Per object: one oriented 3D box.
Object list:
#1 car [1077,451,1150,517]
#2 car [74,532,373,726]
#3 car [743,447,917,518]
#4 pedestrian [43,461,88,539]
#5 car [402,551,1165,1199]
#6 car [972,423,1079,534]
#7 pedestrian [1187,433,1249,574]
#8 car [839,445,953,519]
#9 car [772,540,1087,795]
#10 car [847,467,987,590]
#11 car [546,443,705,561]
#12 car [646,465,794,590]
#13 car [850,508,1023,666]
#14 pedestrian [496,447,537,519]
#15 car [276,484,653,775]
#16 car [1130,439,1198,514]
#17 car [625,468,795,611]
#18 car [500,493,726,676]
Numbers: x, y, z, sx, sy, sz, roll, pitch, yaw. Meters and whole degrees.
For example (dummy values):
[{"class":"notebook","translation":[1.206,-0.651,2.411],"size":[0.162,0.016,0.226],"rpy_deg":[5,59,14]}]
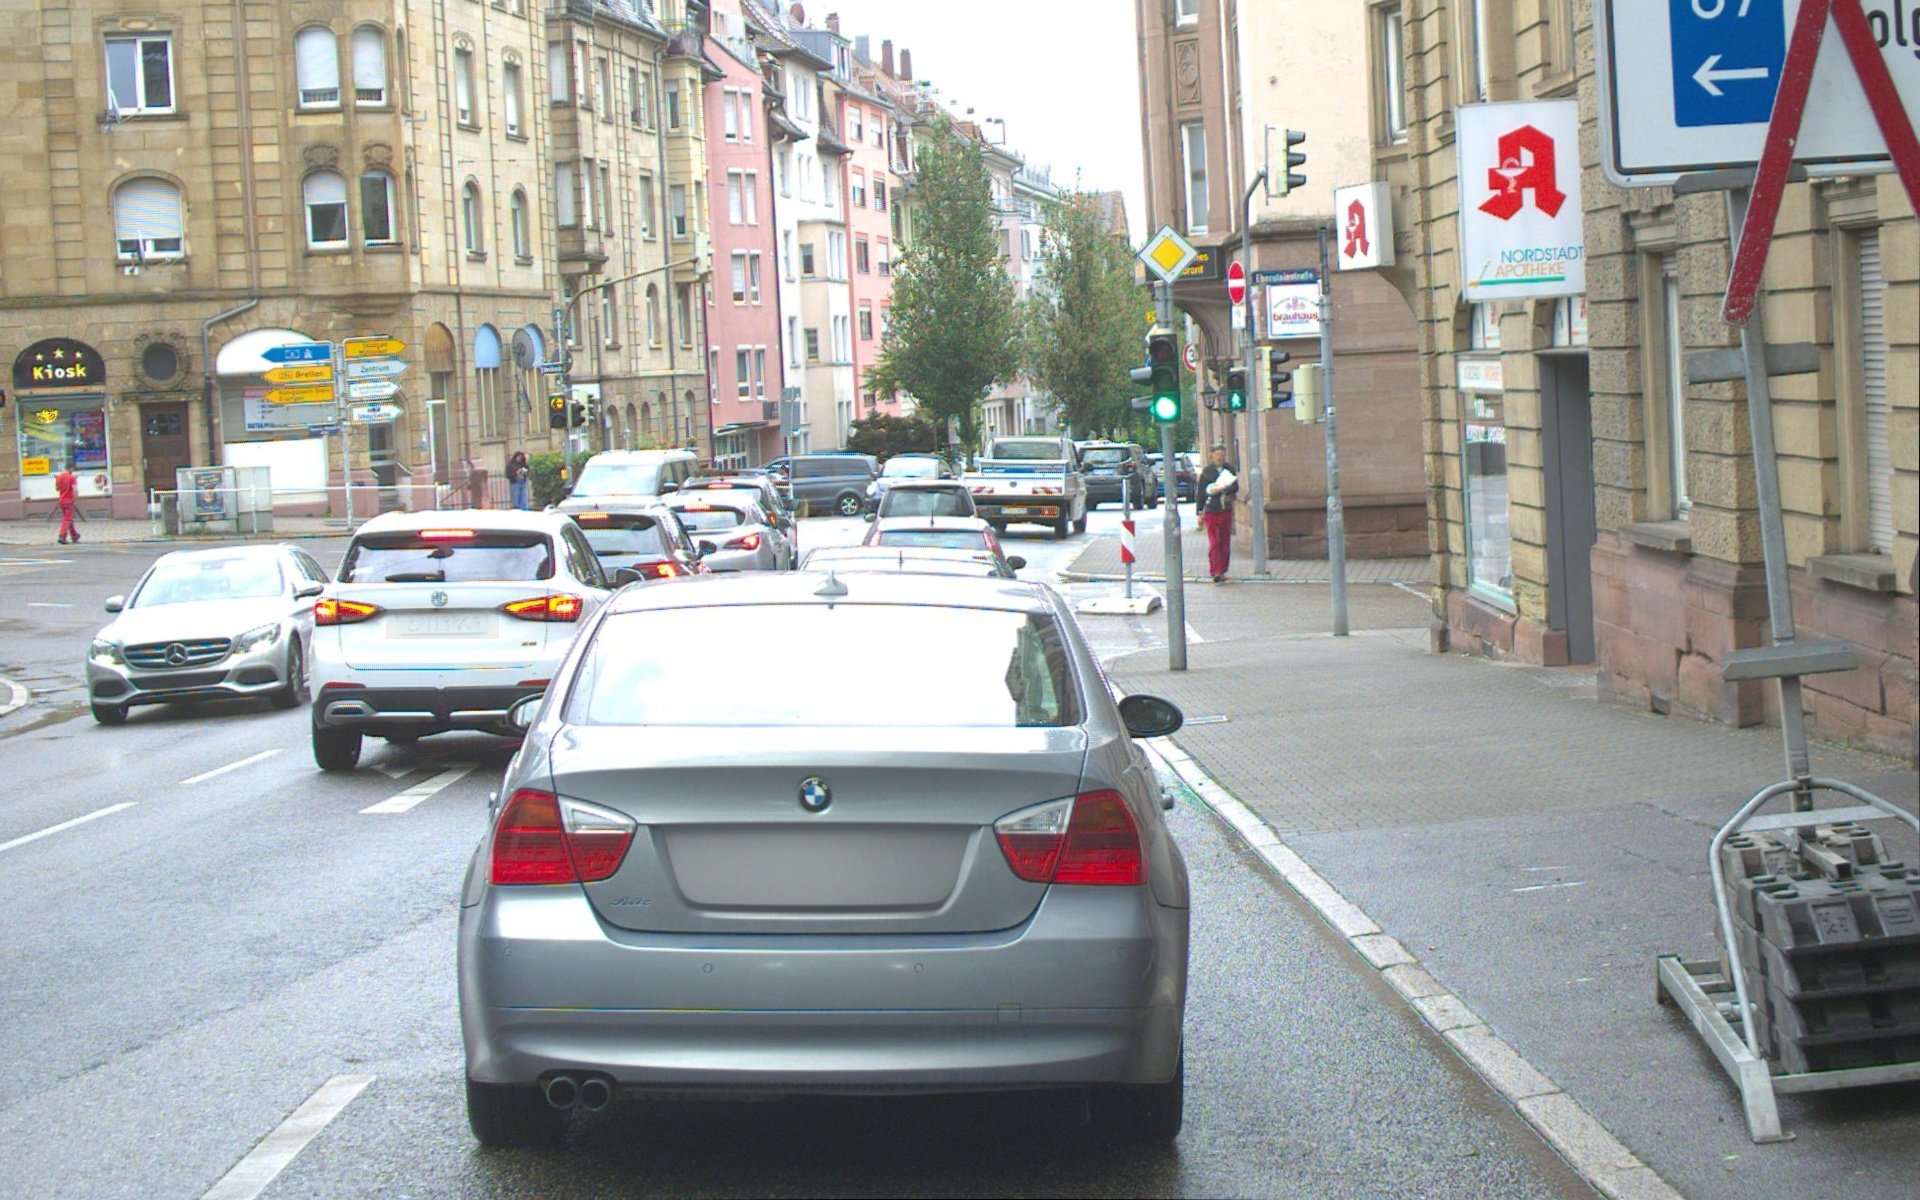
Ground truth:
[{"class":"car","translation":[3.819,-2.883,85.986],"size":[1.725,1.547,4.000],"rpy_deg":[1,1,2]},{"class":"car","translation":[-6.713,0.208,31.801],"size":[1.737,1.521,4.472],"rpy_deg":[-4,1,-1]},{"class":"car","translation":[-3.940,-3.578,105.053],"size":[5.176,2.007,2.699],"rpy_deg":[1,1,0]},{"class":"pedestrian","translation":[-18.300,-2.037,70.326],"size":[0.537,1.572,0.719],"rpy_deg":[-1,1,17]},{"class":"car","translation":[-0.344,0.588,9.164],"size":[1.623,1.378,3.615],"rpy_deg":[0,2,1]},{"class":"car","translation":[1.252,-2.331,67.088],"size":[1.993,2.099,4.000],"rpy_deg":[0,1,0]},{"class":"pedestrian","translation":[3.526,-1.320,47.015],"size":[0.742,1.903,0.659],"rpy_deg":[-2,1,-1]},{"class":"car","translation":[-1.424,-2.653,77.850],"size":[1.845,1.535,3.998],"rpy_deg":[1,1,10]},{"class":"car","translation":[-0.134,0.346,21.275],"size":[1.759,1.378,4.000],"rpy_deg":[0,2,1]},{"class":"car","translation":[-0.540,-0.985,46.350],"size":[1.759,1.562,4.000],"rpy_deg":[-1,2,1]},{"class":"car","translation":[-5.706,-1.693,59.109],"size":[1.762,1.919,4.323],"rpy_deg":[-1,2,7]},{"class":"car","translation":[-3.390,-1.055,49.158],"size":[1.759,1.702,4.000],"rpy_deg":[0,2,1]},{"class":"car","translation":[-0.180,-0.174,33.949],"size":[1.595,1.459,4.000],"rpy_deg":[0,2,1]},{"class":"pedestrian","translation":[-9.825,-2.593,76.181],"size":[0.732,1.572,0.528],"rpy_deg":[-1,1,9]},{"class":"car","translation":[-3.162,0.113,22.712],"size":[1.868,1.620,4.001],"rpy_deg":[-2,3,0]},{"class":"car","translation":[5.825,-3.489,97.726],"size":[1.725,2.007,3.999],"rpy_deg":[1,1,6]},{"class":"car","translation":[-3.110,-0.783,43.444],"size":[1.759,1.702,4.000],"rpy_deg":[0,2,1]},{"class":"car","translation":[-3.387,-0.200,34.235],"size":[1.759,1.702,4.000],"rpy_deg":[0,2,1]}]
